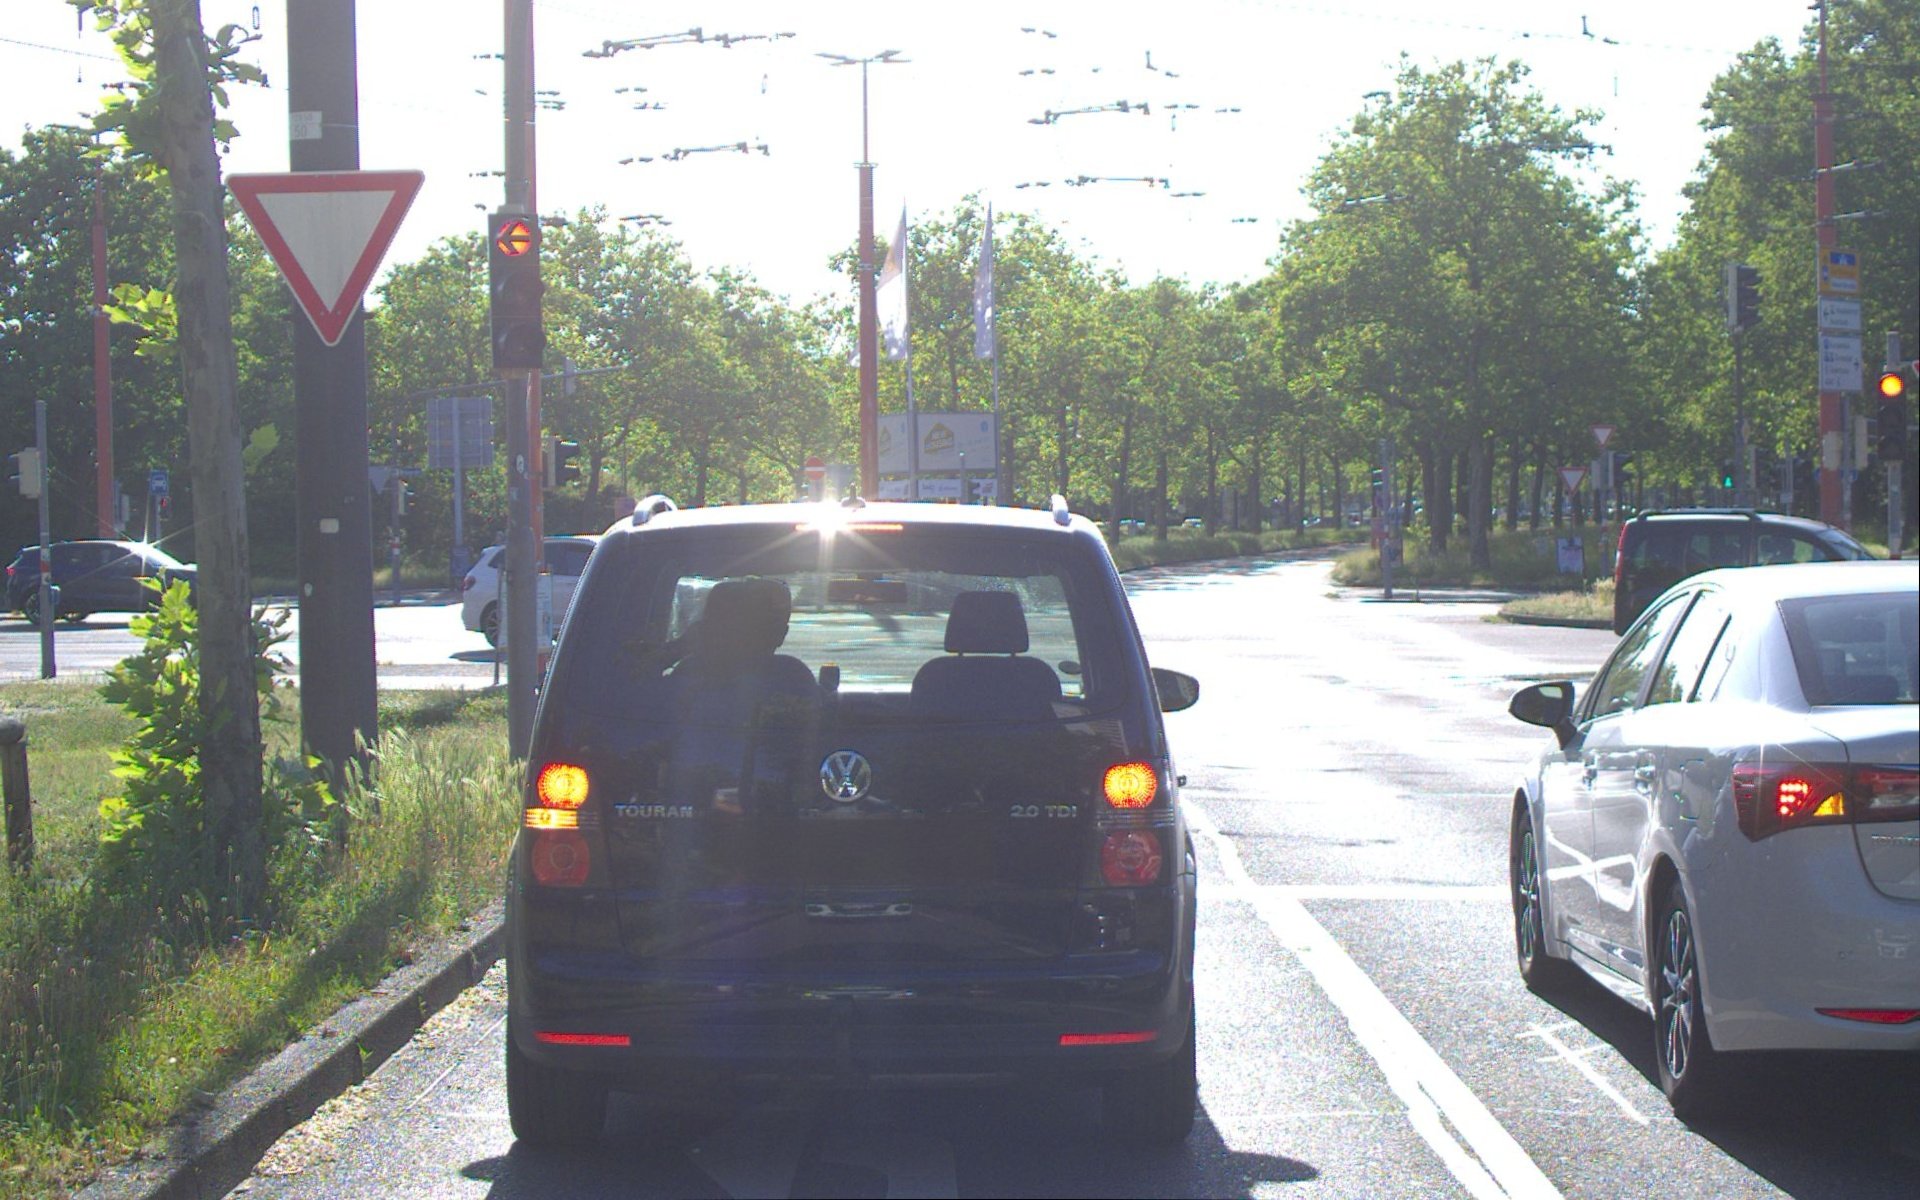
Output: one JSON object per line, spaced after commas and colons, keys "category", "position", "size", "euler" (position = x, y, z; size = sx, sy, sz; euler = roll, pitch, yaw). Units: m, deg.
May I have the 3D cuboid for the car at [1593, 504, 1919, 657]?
{"category": "car", "position": [10.483, -0.258, 42.759], "size": [4.787, 1.829, 1.911], "euler": [0, 1, 27]}

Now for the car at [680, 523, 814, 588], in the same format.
{"category": "car", "position": [-5.644, -1.199, 91.766], "size": [1.995, 1.679, 4.825], "euler": [0, 1, 17]}

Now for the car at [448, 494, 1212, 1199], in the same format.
{"category": "car", "position": [-0.317, 0.547, 9.868], "size": [1.737, 1.635, 4.000], "euler": [0, 1, -1]}

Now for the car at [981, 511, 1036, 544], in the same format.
{"category": "car", "position": [2.528, -3.740, 178.033], "size": [1.994, 1.679, 4.826], "euler": [0, 1, 11]}

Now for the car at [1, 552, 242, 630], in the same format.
{"category": "car", "position": [-16.110, -0.189, 66.231], "size": [4.208, 1.459, 1.914], "euler": [0, 1, -2]}

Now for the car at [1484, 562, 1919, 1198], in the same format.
{"category": "car", "position": [2.686, 0.631, 10.069], "size": [1.715, 1.449, 4.144], "euler": [0, 1, 1]}

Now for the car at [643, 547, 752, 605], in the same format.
{"category": "car", "position": [-7.727, -0.728, 101.636], "size": [1.994, 1.679, 4.826], "euler": [0, 1, 11]}

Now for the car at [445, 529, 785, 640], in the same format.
{"category": "car", "position": [-5.167, -0.243, 51.416], "size": [4.787, 1.592, 1.911], "euler": [0, 1, 27]}
